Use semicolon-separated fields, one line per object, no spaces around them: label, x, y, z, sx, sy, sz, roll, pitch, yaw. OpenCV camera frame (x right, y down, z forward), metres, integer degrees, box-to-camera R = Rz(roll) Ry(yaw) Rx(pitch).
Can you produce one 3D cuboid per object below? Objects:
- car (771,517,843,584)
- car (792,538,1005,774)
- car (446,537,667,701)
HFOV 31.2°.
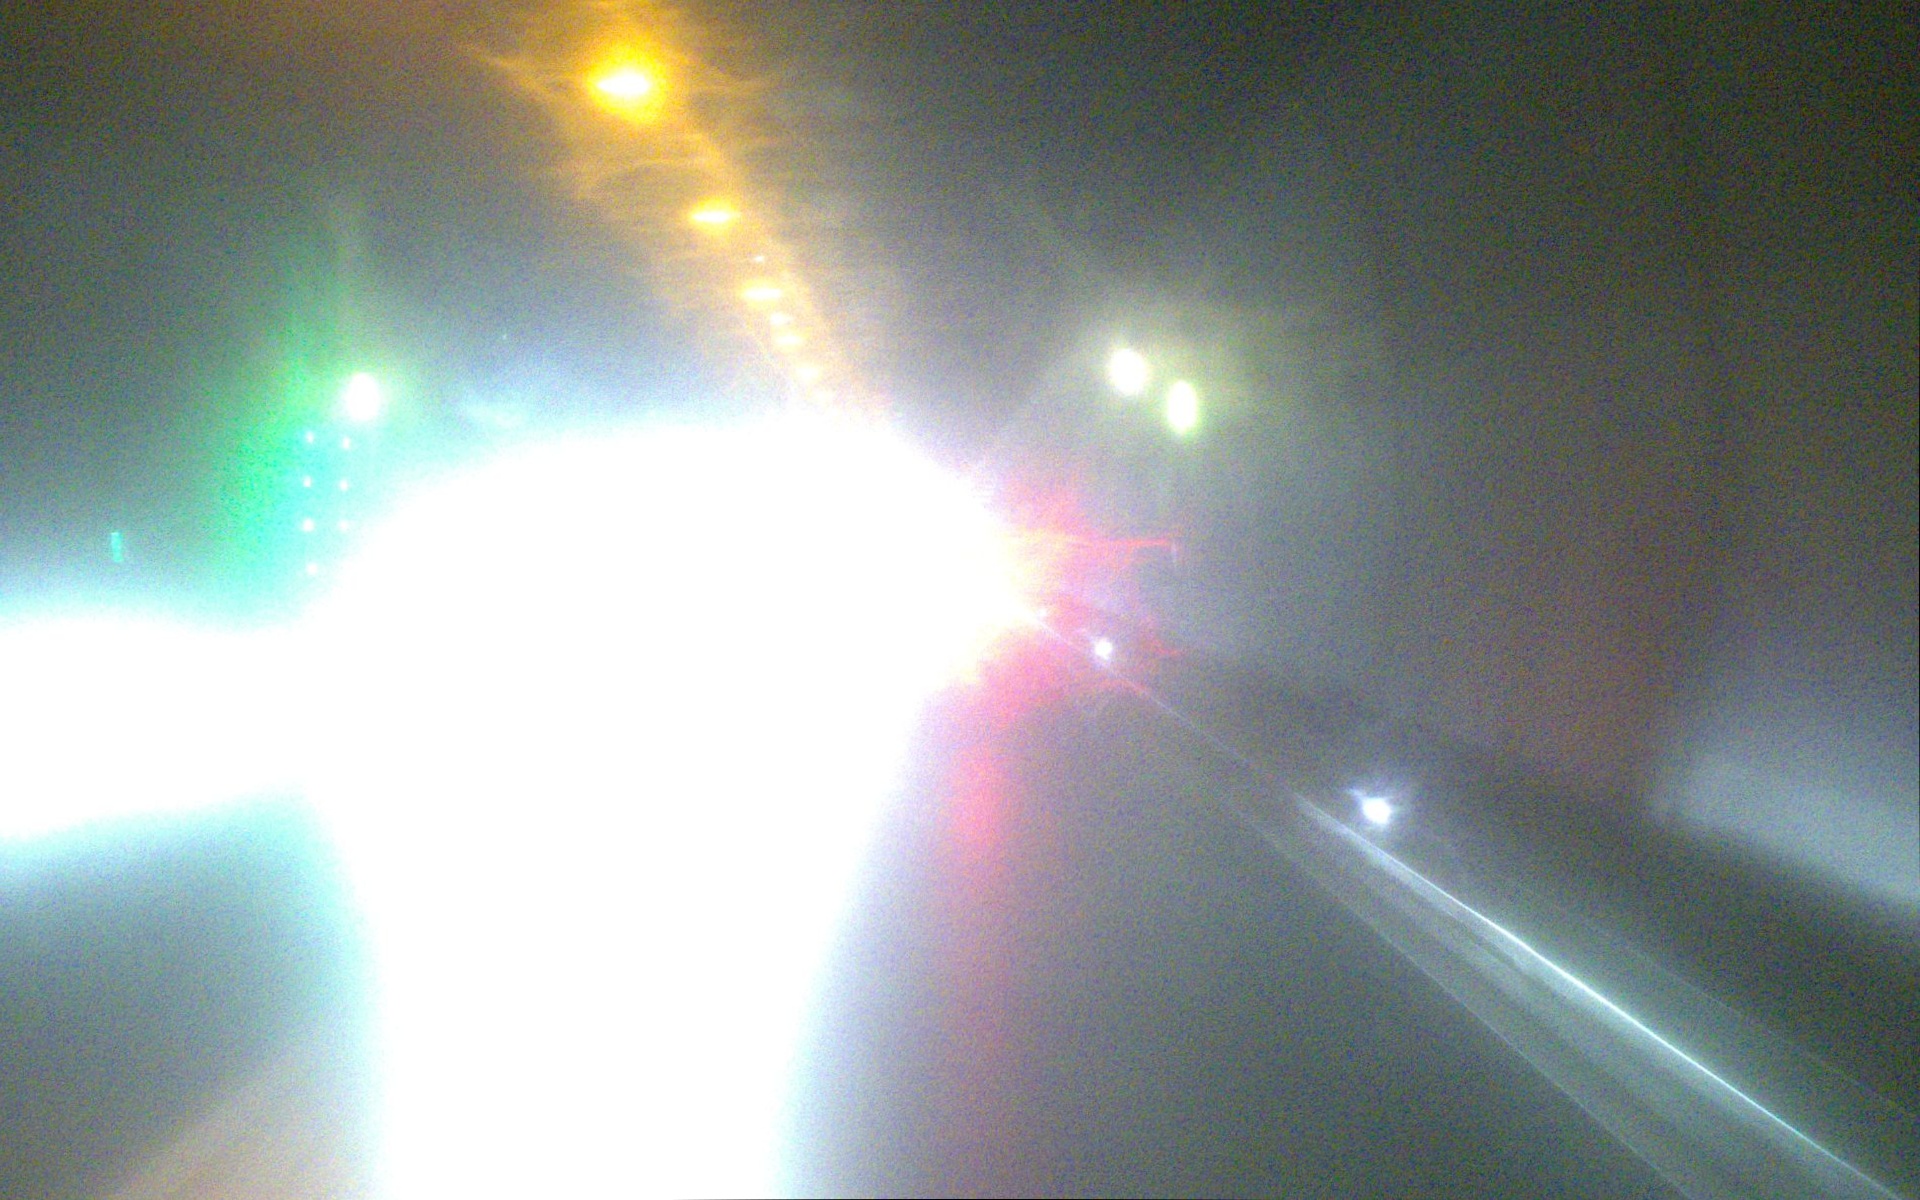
car;-4.852;-1.589;108.650;2.211;2.006;4.001;0;2;-4
car;-0.455;0.399;28.701;1.635;1.751;4.146;0;2;1
car;-3.848;0.135;33.379;1.777;1.404;4.295;0;2;-2
